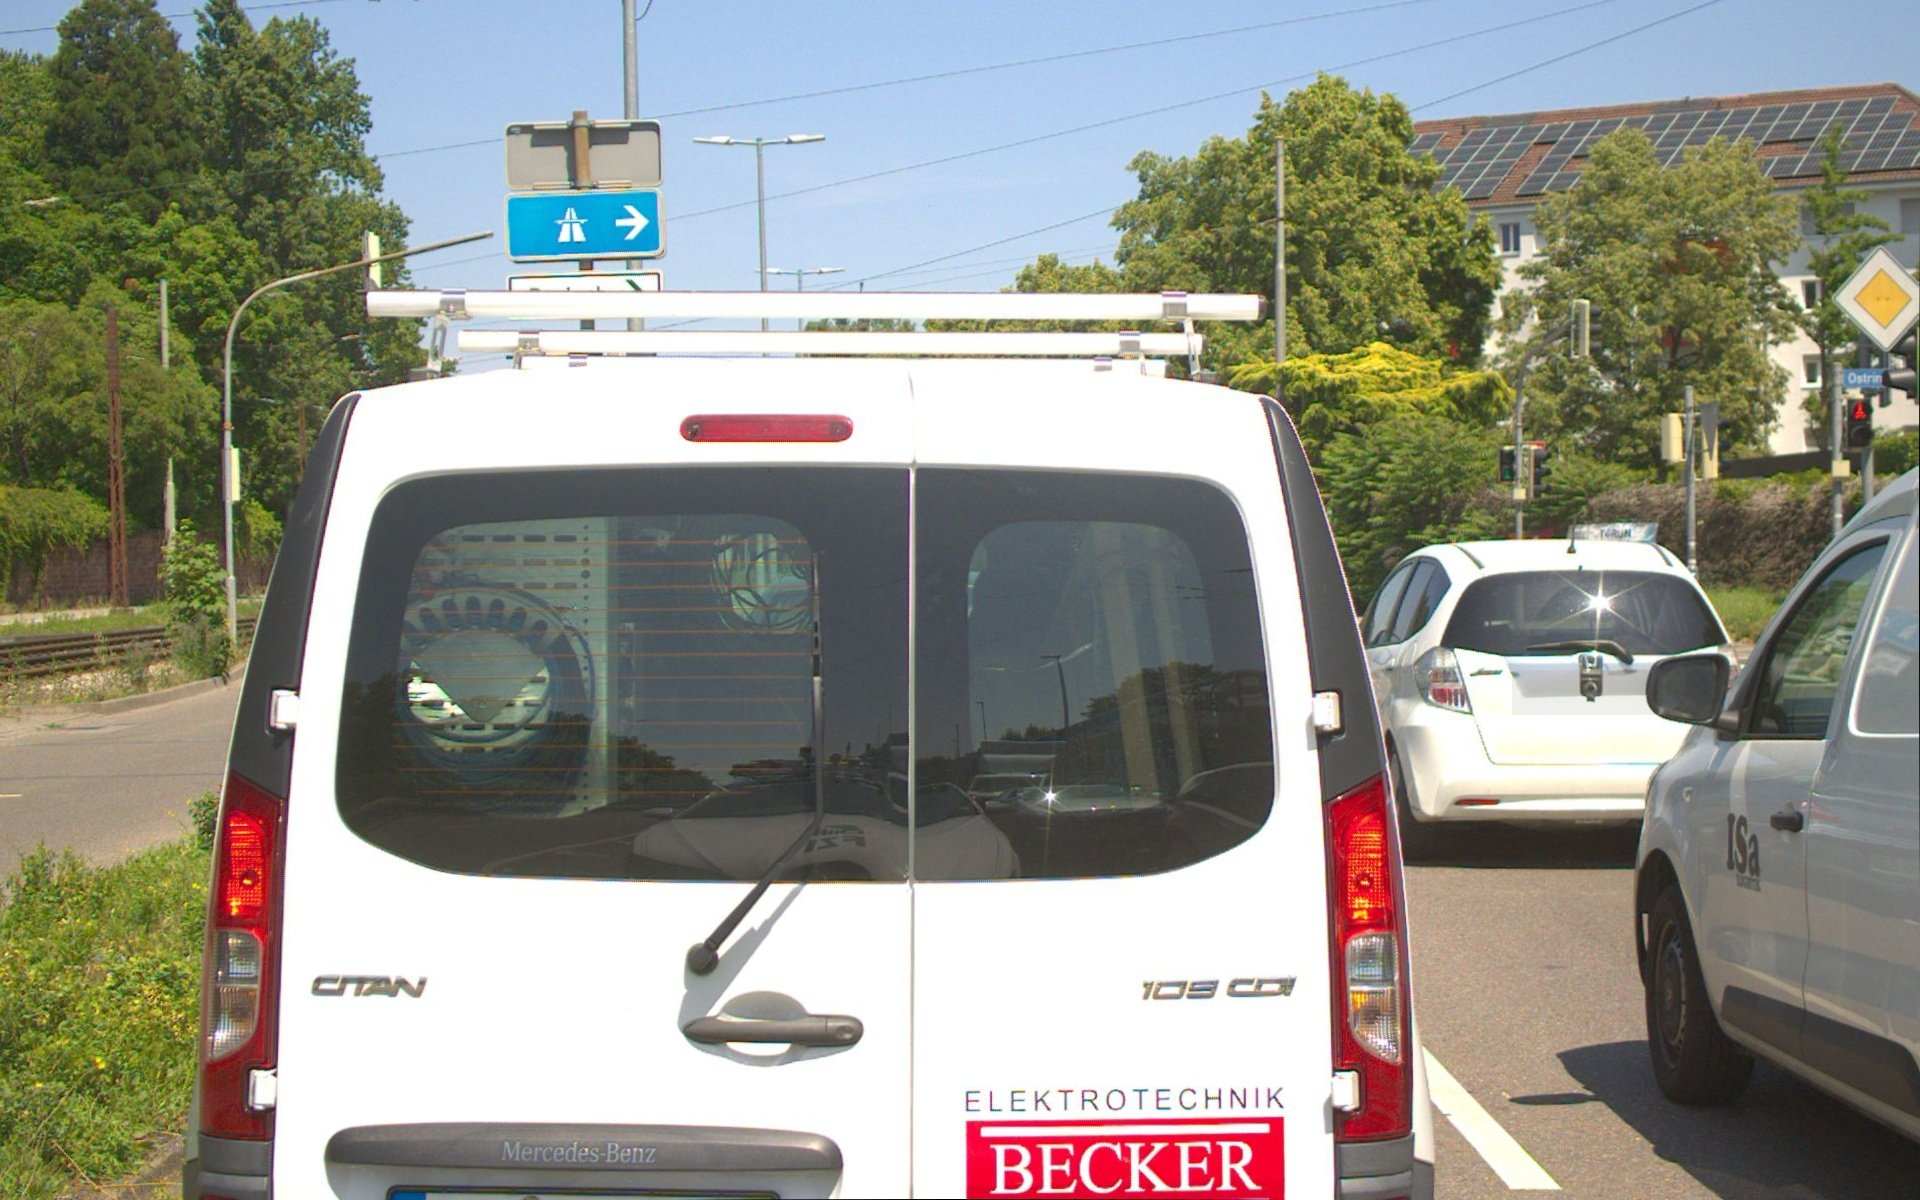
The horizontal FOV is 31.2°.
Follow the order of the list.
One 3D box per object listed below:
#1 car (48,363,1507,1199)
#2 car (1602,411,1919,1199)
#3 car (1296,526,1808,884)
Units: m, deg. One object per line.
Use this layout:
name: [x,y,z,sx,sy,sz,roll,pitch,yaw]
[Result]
car: [-0.251,0.535,6.499,1.821,1.734,4.396,0,1,-1]
car: [2.758,0.510,7.771,1.727,1.782,4.065,1,1,-2]
car: [2.843,0.428,17.383,1.835,1.563,4.000,1,1,-1]
